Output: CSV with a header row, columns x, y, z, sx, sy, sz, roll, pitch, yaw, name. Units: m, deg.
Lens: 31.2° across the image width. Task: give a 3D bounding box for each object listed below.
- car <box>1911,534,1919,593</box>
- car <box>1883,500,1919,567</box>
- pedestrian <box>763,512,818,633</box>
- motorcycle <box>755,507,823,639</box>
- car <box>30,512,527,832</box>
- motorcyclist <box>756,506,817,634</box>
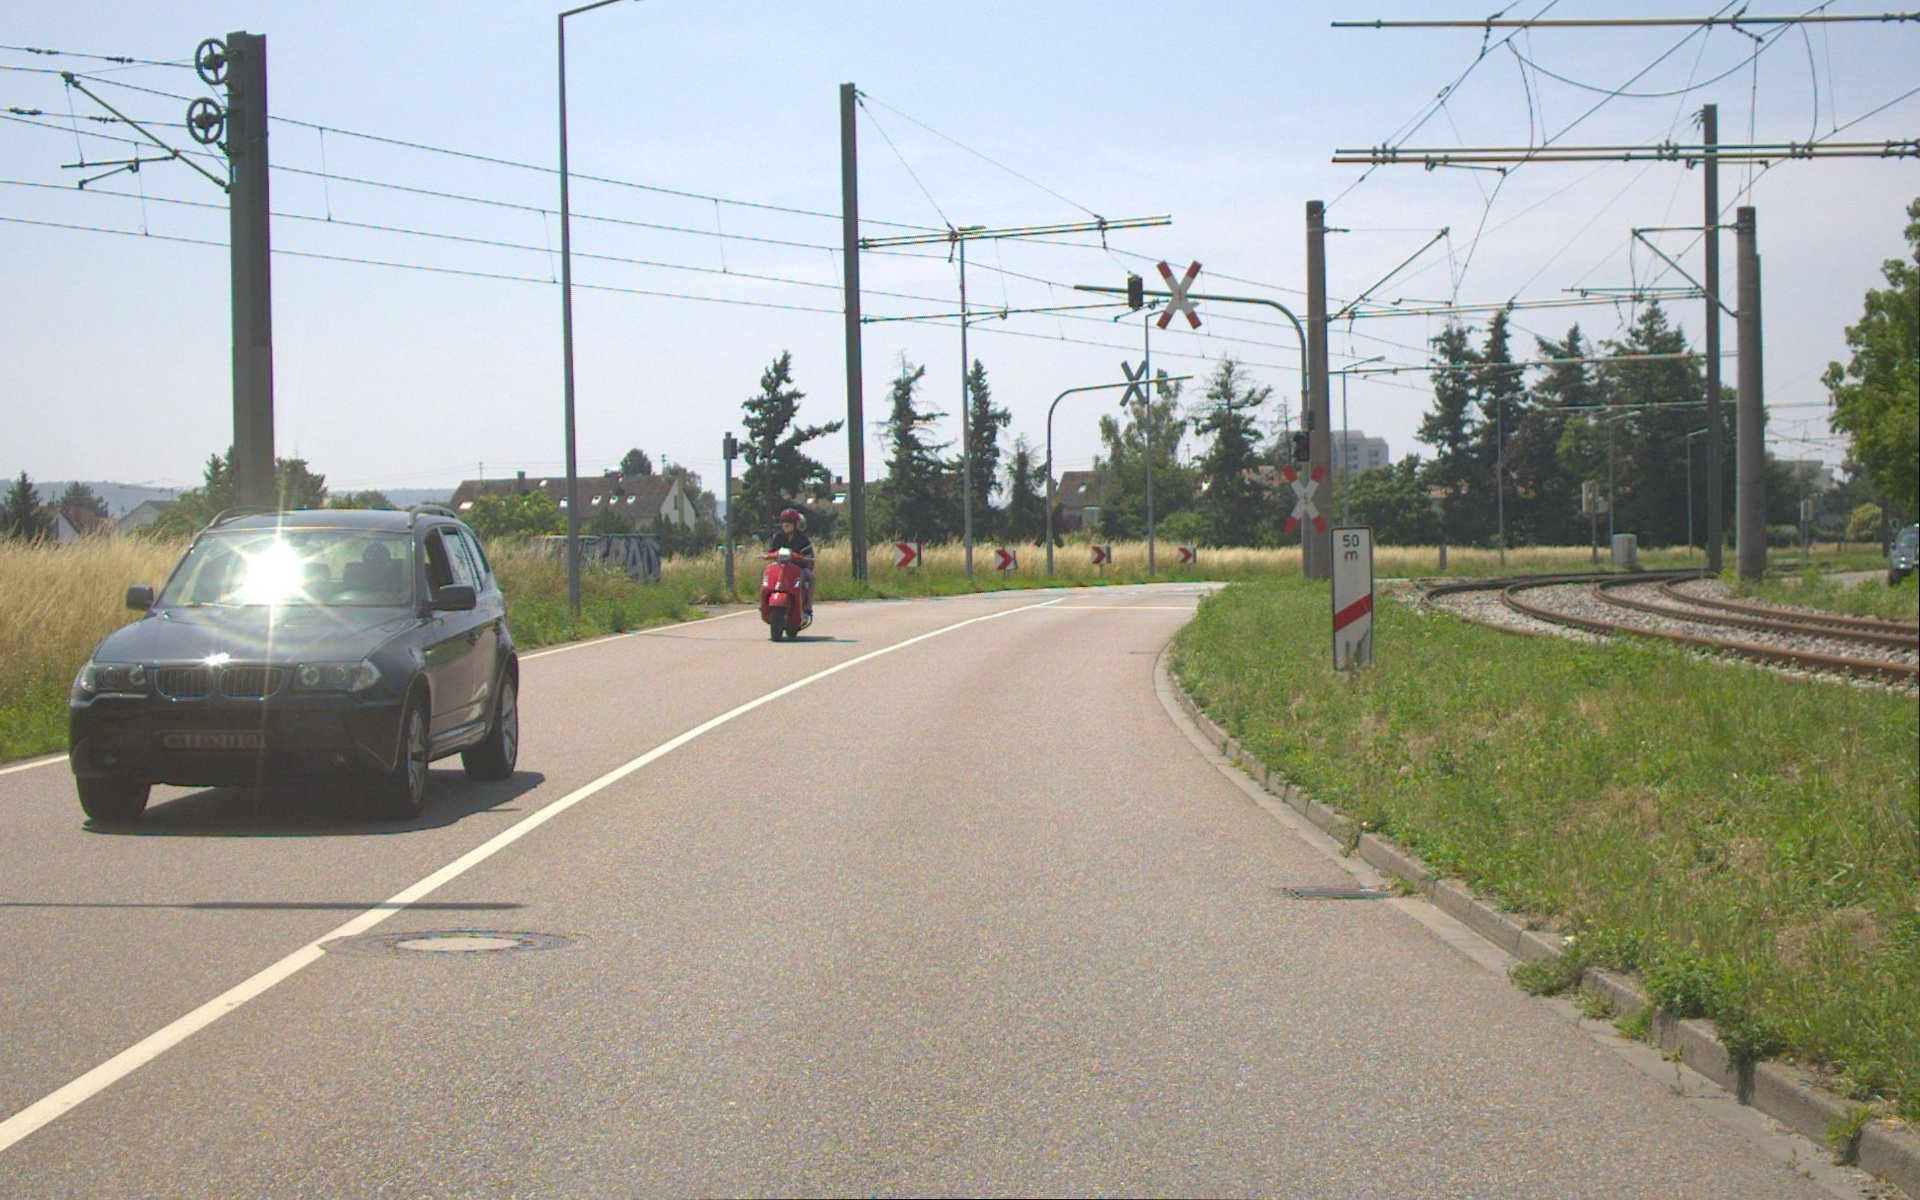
x,y,z,sx,sy,sz,roll,pitch,yaw,name
19.896,-0.754,66.956,1.644,1.167,3.669,-1,0,-1,car
22.112,-1.510,78.475,1.797,1.421,4.737,-1,0,13,car
-2.173,-0.356,44.065,0.642,1.531,0.577,-1,2,1,pedestrian
-2.163,-0.366,43.685,0.704,1.580,2.147,-1,3,1,motorcycle
-3.721,0.307,19.594,1.827,1.596,4.484,-1,1,1,car
-2.186,-0.385,43.382,0.688,1.580,0.670,-1,3,1,motorcyclist
